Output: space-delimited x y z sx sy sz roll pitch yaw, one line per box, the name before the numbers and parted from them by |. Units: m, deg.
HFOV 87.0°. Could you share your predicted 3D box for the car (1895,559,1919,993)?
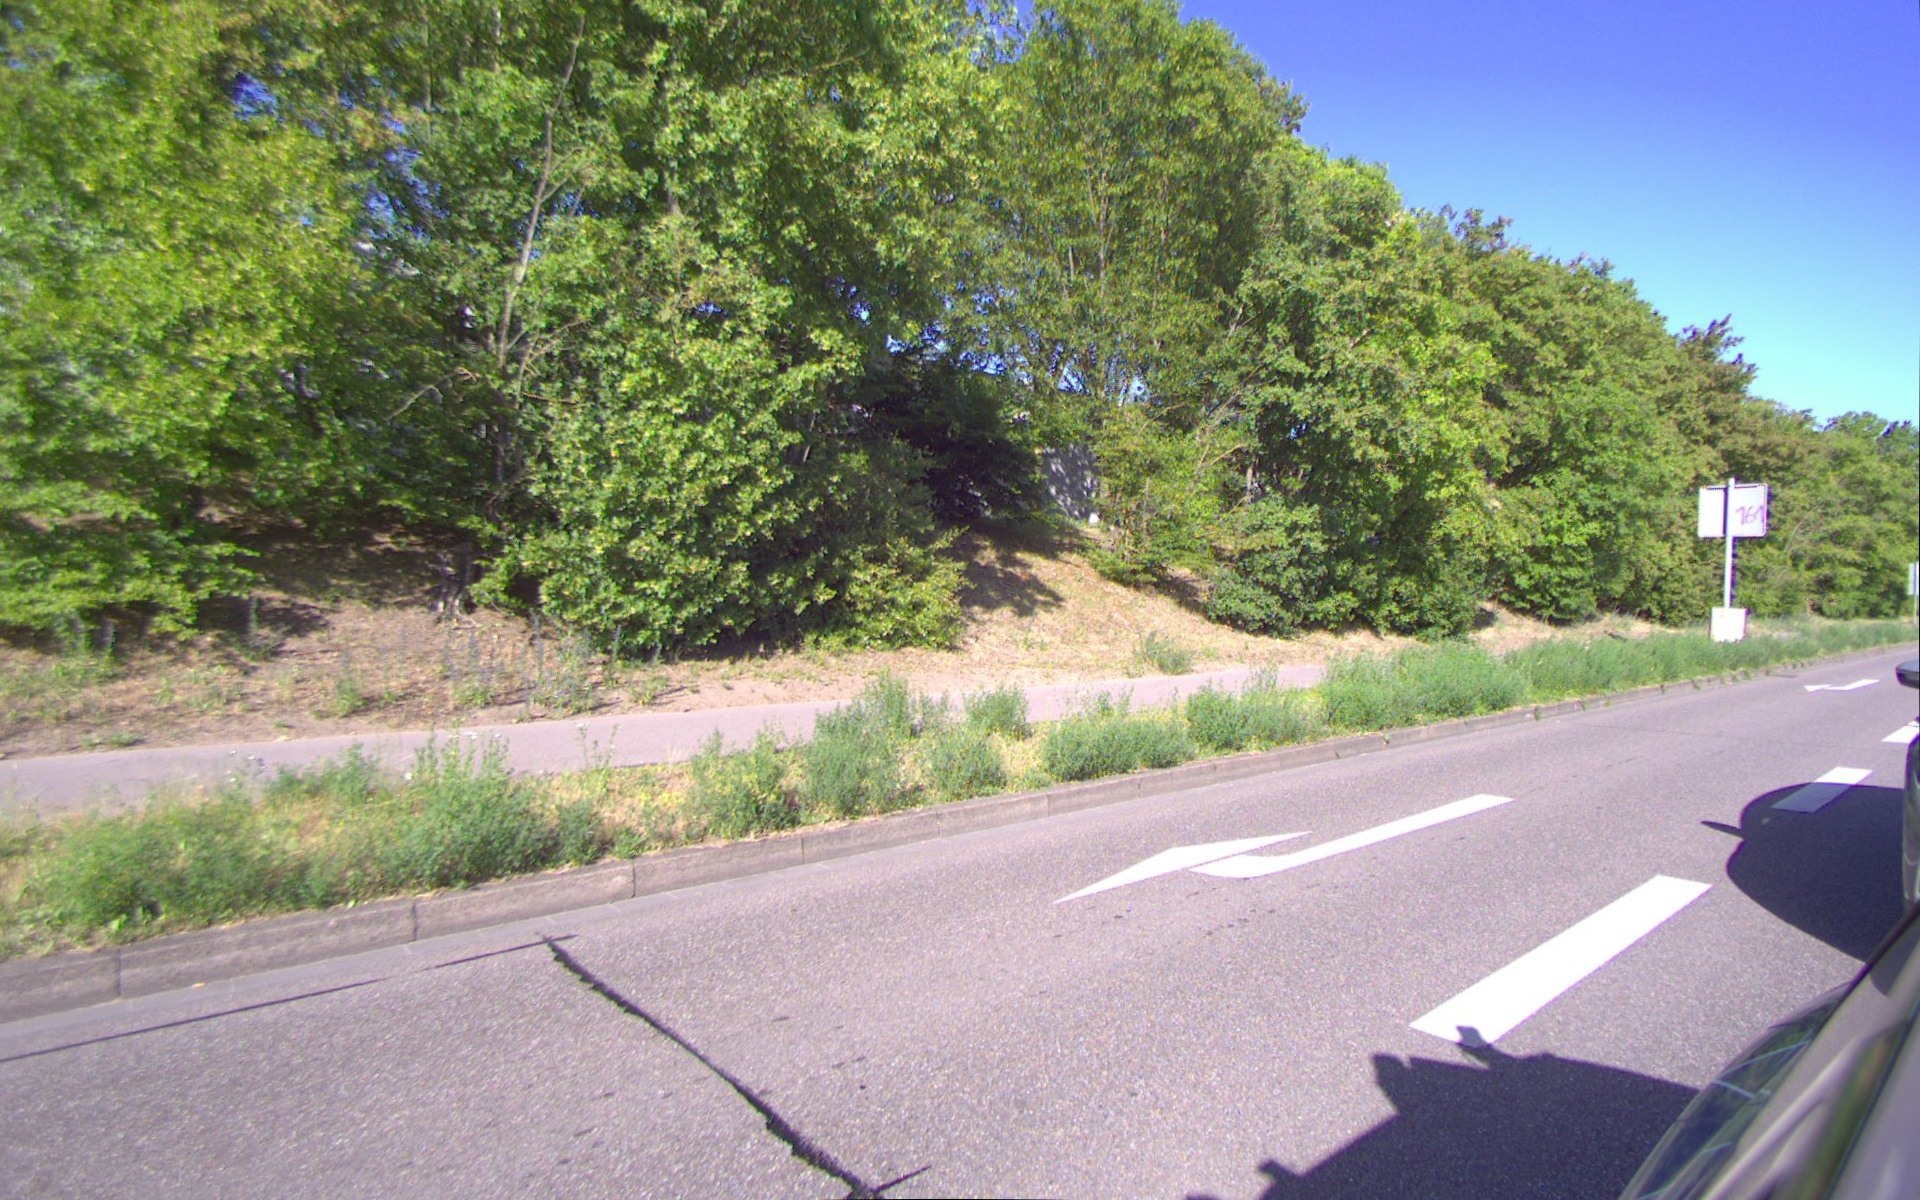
car | 5.725 0.653 4.538 4.327 1.603 1.860 0 0 -42
